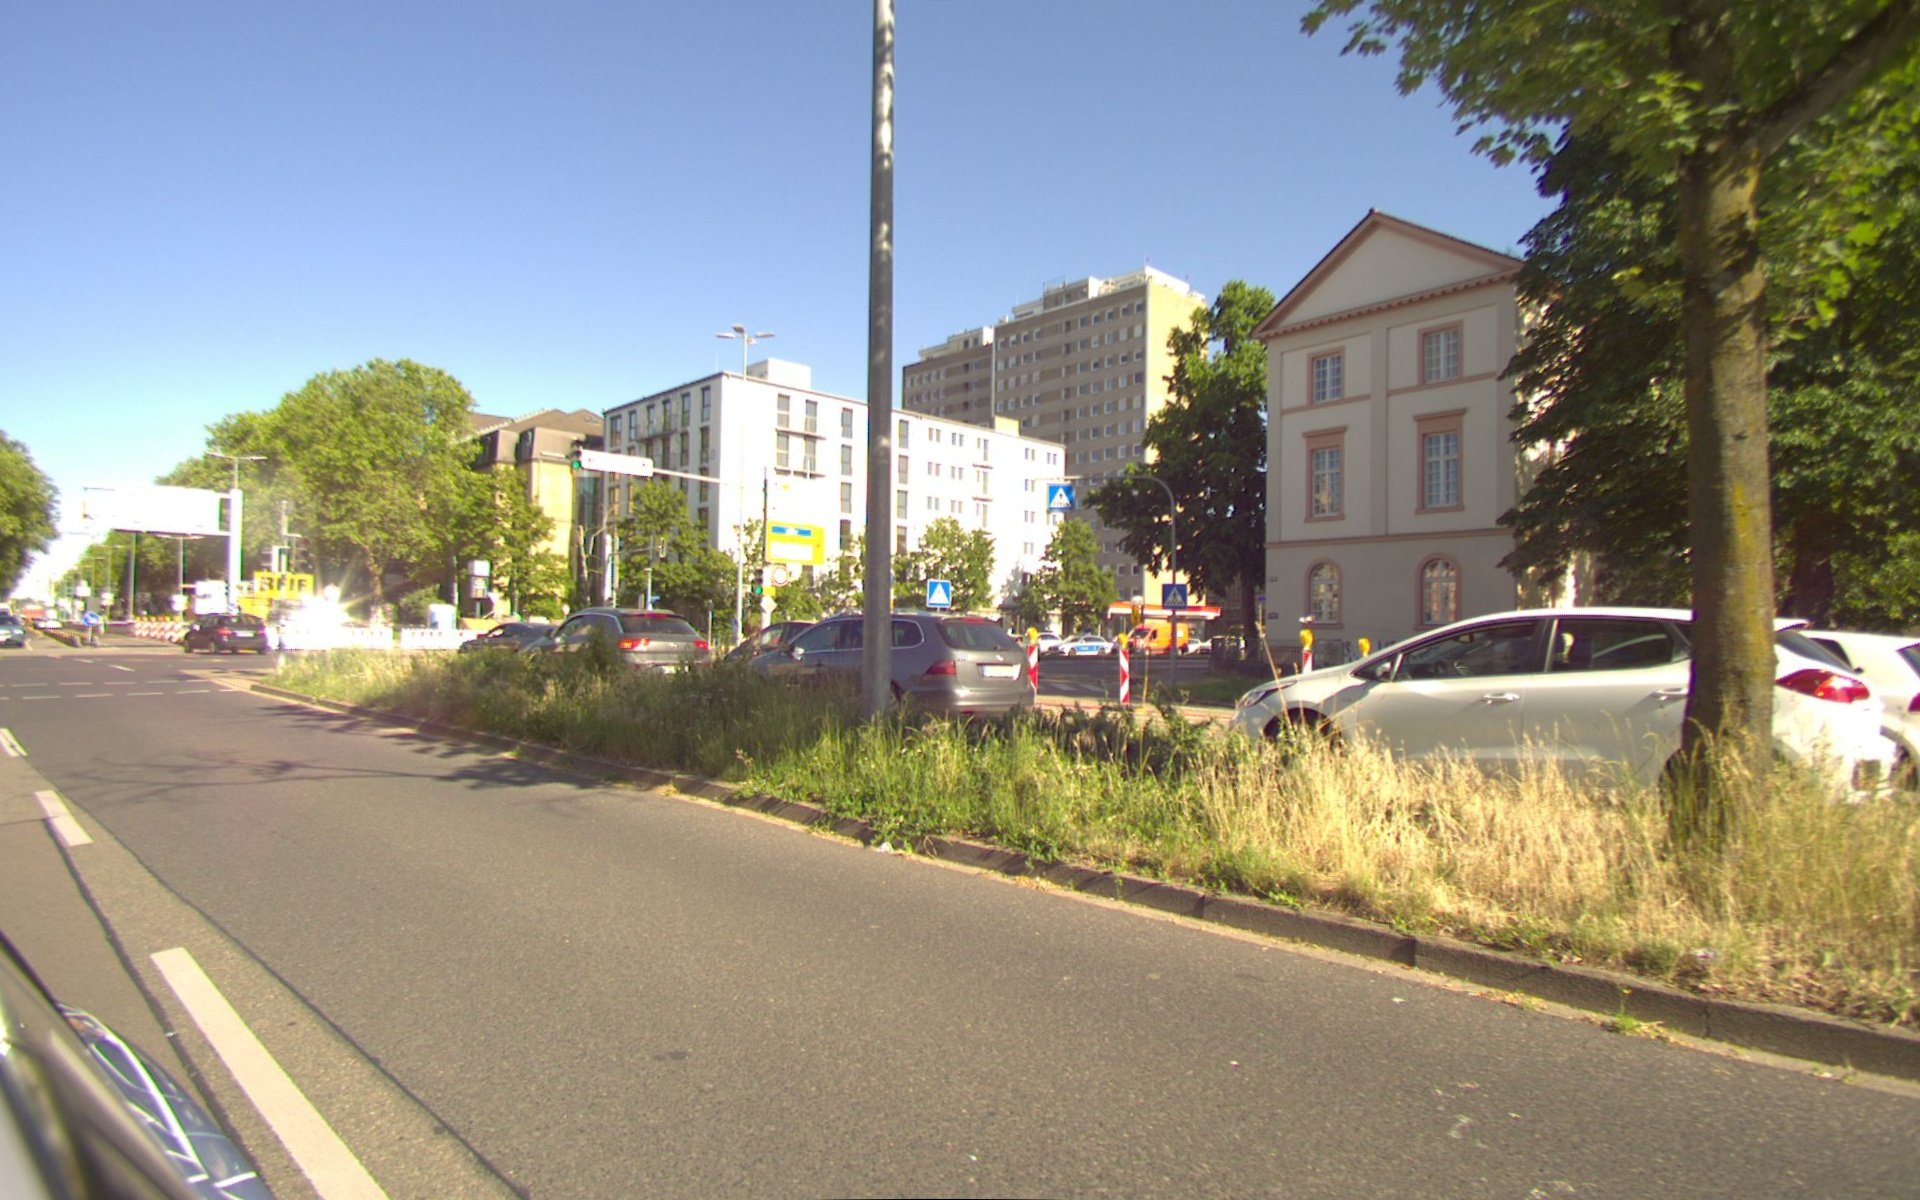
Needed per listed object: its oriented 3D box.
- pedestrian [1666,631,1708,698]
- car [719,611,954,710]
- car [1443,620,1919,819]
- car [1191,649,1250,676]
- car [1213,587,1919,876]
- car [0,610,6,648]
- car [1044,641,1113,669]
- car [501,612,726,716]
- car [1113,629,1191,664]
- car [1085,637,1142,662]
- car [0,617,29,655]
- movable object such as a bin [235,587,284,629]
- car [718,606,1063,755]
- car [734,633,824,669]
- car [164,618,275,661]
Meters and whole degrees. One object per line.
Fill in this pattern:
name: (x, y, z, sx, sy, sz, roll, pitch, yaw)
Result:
pedestrian: (17.427, 1.529, 24.263, 0.780, 1.547, 0.733, -1, -2, 38)
car: (-2.288, 0.976, 17.930, 4.347, 1.530, 1.776, 0, -1, 43)
car: (6.946, 0.966, 9.439, 4.080, 1.530, 1.776, -1, -2, 43)
car: (19.723, 4.715, 76.550, 4.635, 1.828, 1.923, 1, 1, -39)
car: (4.192, 0.755, 7.446, 4.205, 1.530, 1.776, -1, -3, 43)
car: (-65.070, 1.914, 67.581, 1.856, 2.532, 4.454, 2, -2, -44)
car: (7.683, 3.530, 65.568, 4.641, 1.630, 1.920, 1, 1, -45)
car: (-5.939, 0.975, 17.074, 4.347, 1.530, 1.776, 0, -1, 43)
car: (13.389, 3.176, 70.380, 5.805, 2.247, 1.923, 1, 1, -38)
car: (11.010, 3.532, 72.662, 3.938, 1.630, 1.922, 1, 1, -41)
car: (-44.866, 1.664, 47.220, 1.854, 1.530, 4.008, 1, 1, -39)
movable object such as a bin: (-43.929, 0.474, 63.433, 1.970, 2.494, 4.005, 1, 1, -43)
car: (-1.009, 0.884, 12.535, 4.363, 1.530, 1.776, -2, -2, 43)
car: (-9.025, 2.508, 50.619, 3.935, 1.630, 1.923, 1, 1, -38)
car: (-28.390, 1.486, 38.777, 4.260, 1.598, 1.844, -1, -2, 30)
